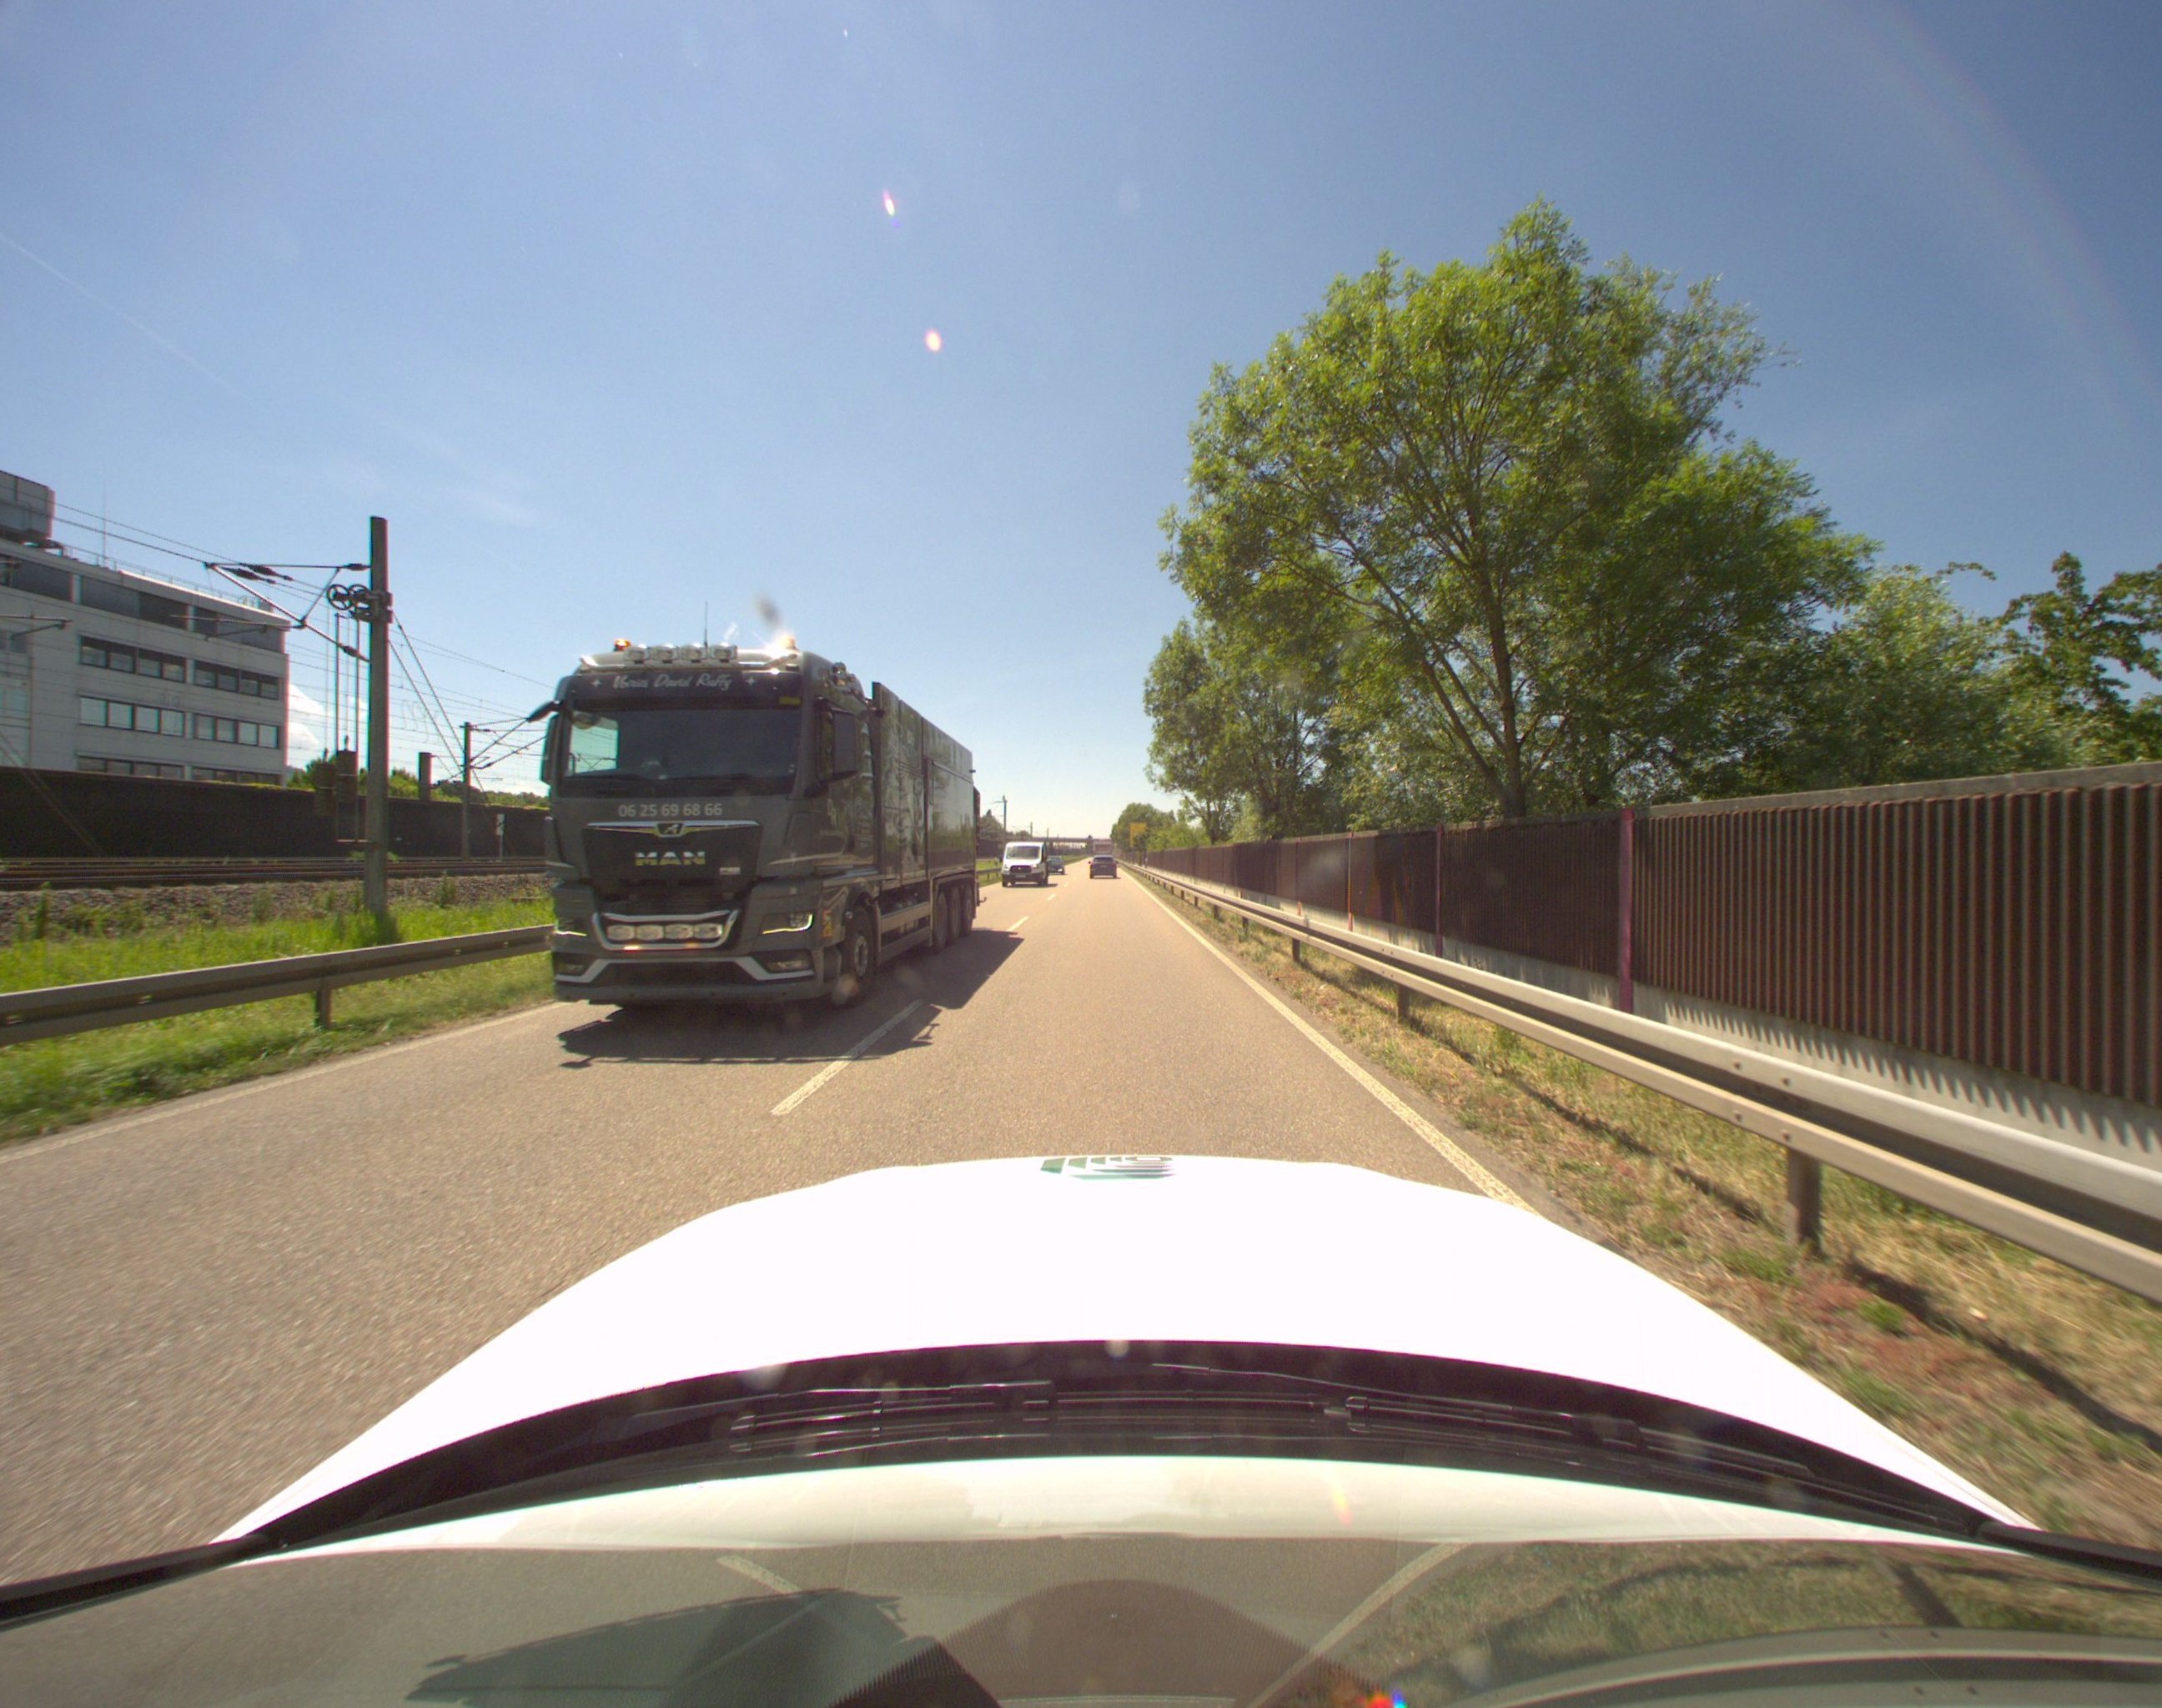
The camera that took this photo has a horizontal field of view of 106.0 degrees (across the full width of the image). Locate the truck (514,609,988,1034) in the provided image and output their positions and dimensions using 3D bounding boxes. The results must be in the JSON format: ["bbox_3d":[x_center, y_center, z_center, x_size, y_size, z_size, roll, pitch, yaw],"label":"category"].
[{"bbox_3d":[-3.450,-0.296,12.454,2.649,3.627,10.978,0,0,1],"label":"truck"}]

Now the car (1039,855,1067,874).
[{"bbox_3d":[-2.236,0.836,65.302,1.967,1.508,4.164,0,0,2],"label":"car"}]

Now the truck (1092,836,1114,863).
[{"bbox_3d":[2.952,-0.557,107.972,2.760,3.425,10.823,0,0,2],"label":"truck"}]

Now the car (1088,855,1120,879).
[{"bbox_3d":[1.511,0.824,54.824,1.987,1.508,3.999,-1,0,-1],"label":"car"}]

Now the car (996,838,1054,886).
[{"bbox_3d":[-2.775,0.394,42.021,2.252,2.287,6.239,0,0,3],"label":"car"}]
